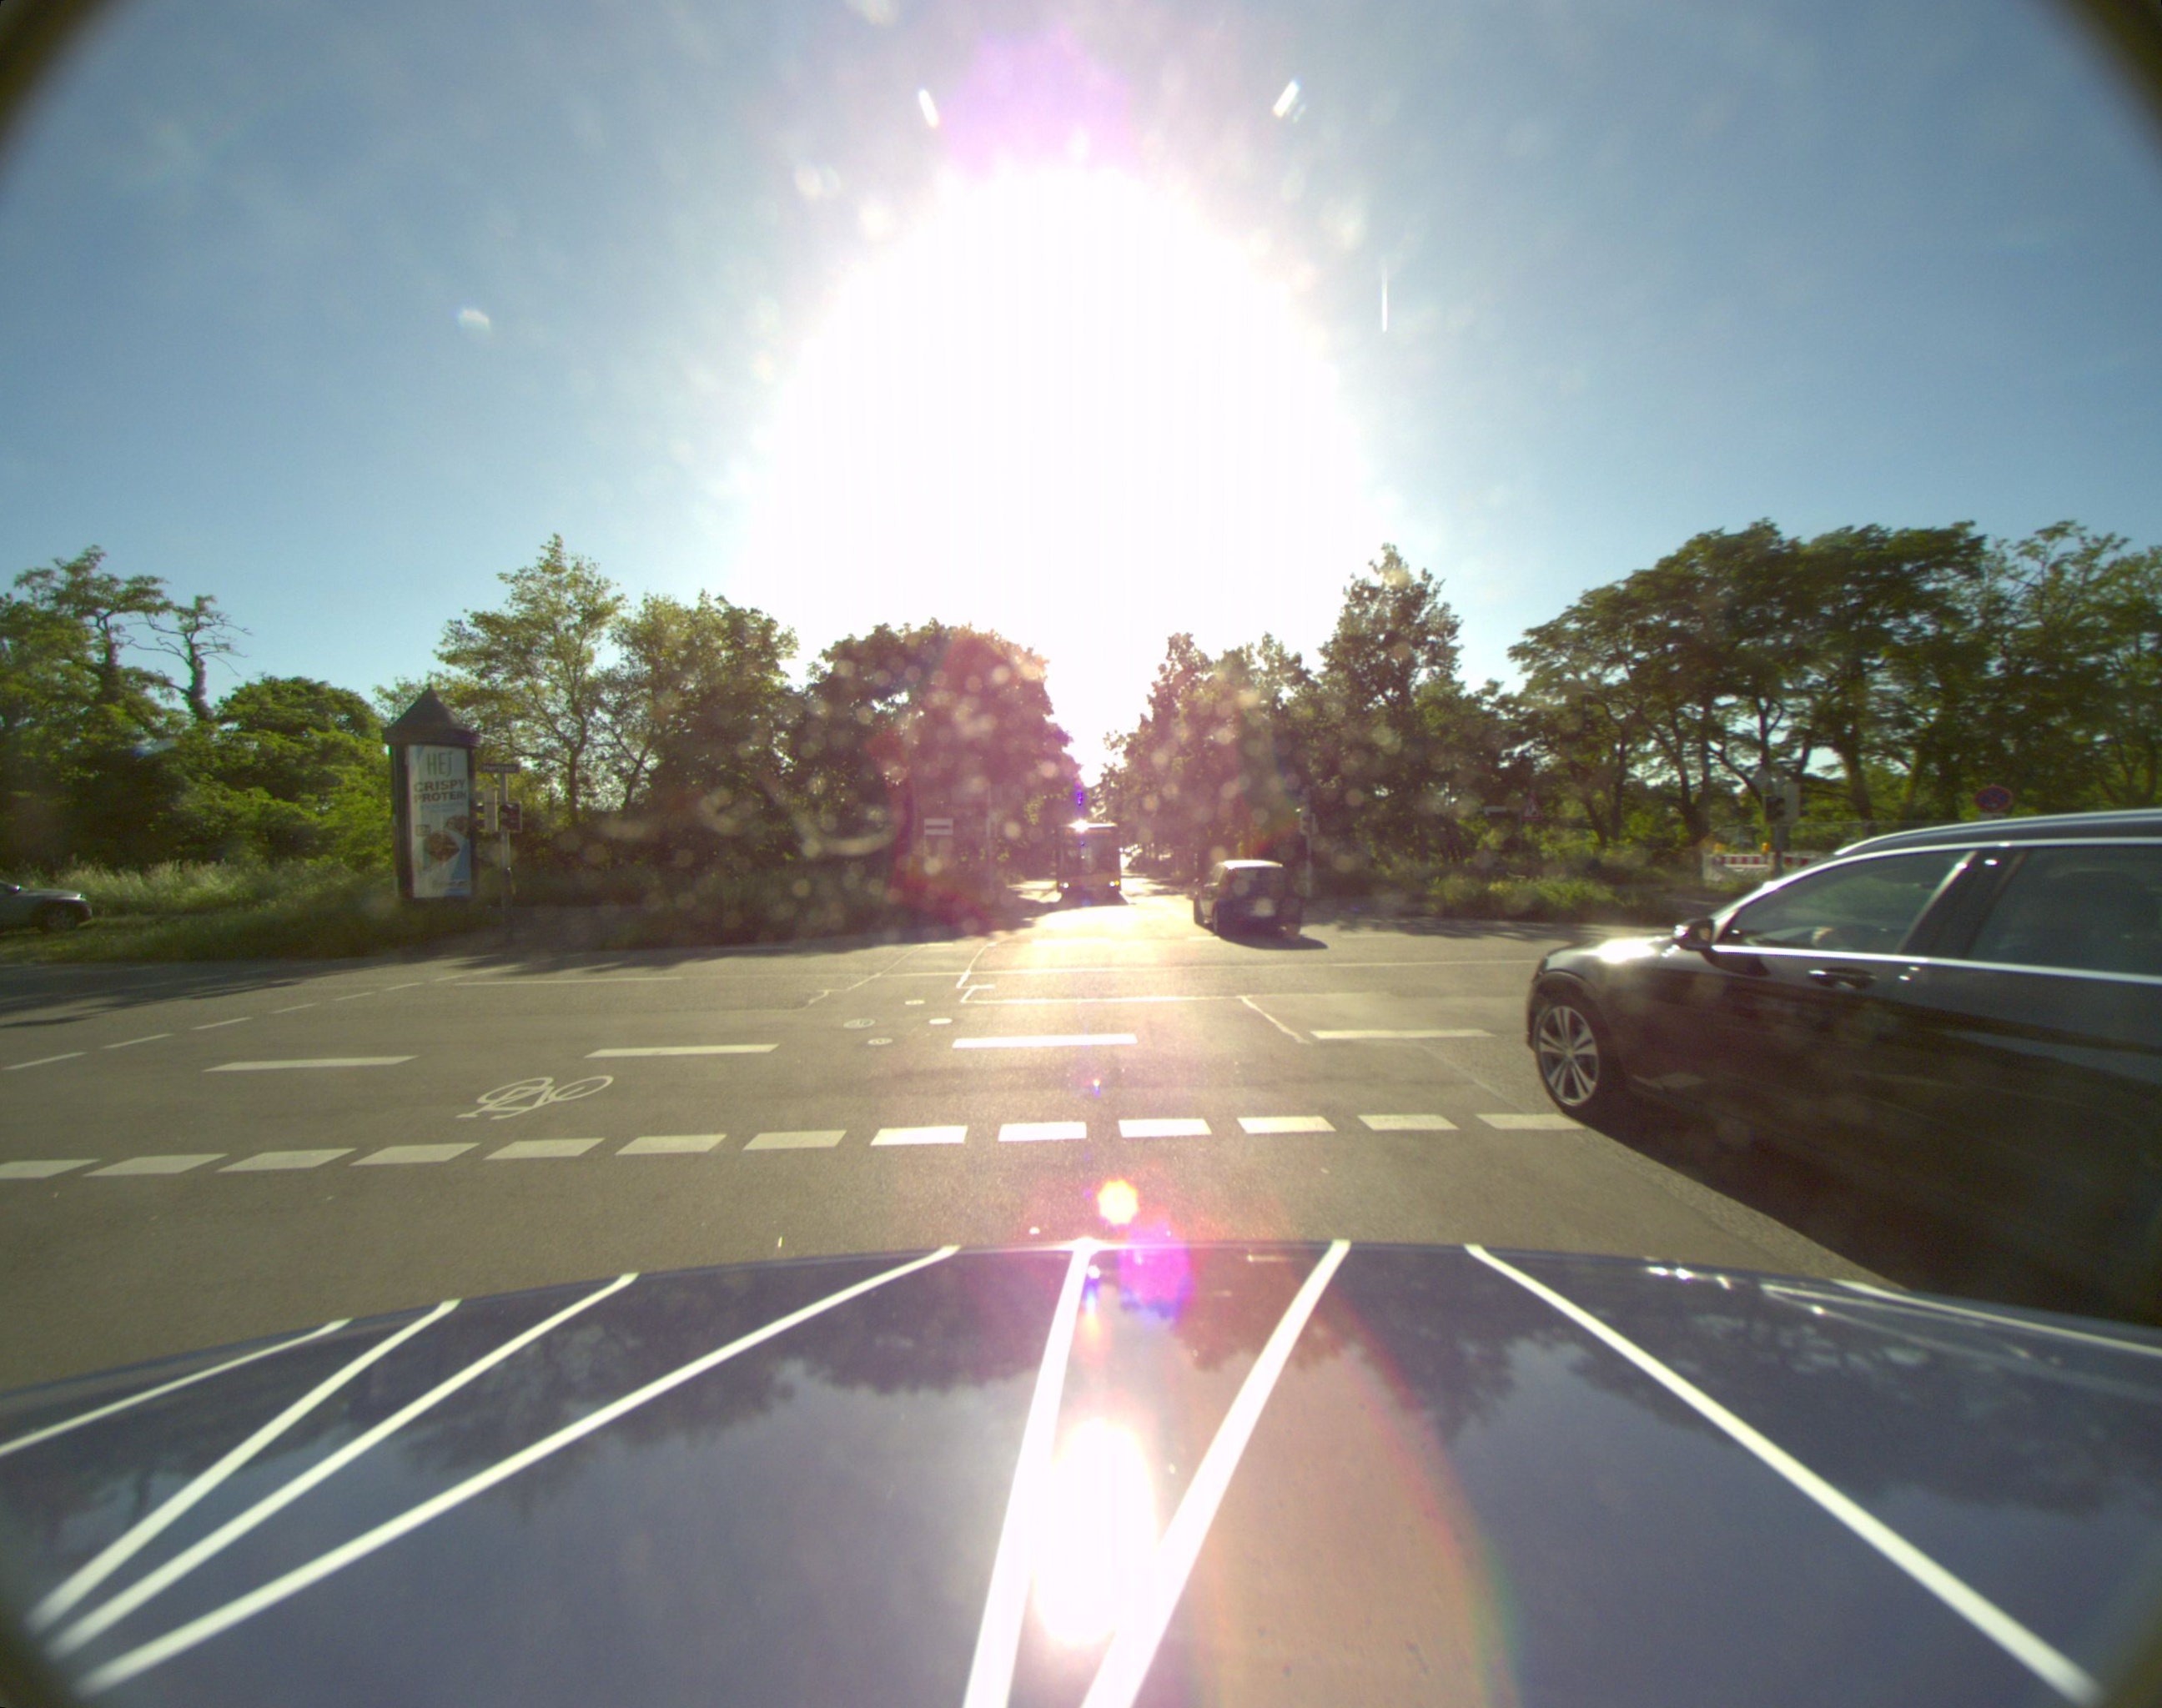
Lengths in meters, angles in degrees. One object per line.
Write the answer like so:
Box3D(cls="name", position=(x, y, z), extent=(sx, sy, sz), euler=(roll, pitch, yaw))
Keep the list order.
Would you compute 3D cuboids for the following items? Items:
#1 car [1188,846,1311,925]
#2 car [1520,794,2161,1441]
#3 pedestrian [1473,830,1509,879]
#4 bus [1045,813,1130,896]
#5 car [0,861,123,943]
Box3D(cls="car", position=(3.459, 0.580, 16.314), extent=(1.810, 1.447, 3.849), euler=(0, 1, 0))
Box3D(cls="car", position=(3.621, 0.651, 2.567), extent=(1.819, 1.608, 4.392), euler=(0, 1, 2))
Box3D(cls="pedestrian", position=(13.990, 0.024, 25.925), extent=(0.800, 1.624, 0.647), euler=(-3, 1, 1))
Box3D(cls="bus", position=(0.427, 0.009, 35.735), extent=(3.128, 3.080, 12.480), euler=(-3, 0, 2))
Box3D(cls="car", position=(-24.565, 1.166, 16.465), extent=(1.868, 1.642, 4.444), euler=(-3, 4, -2))
